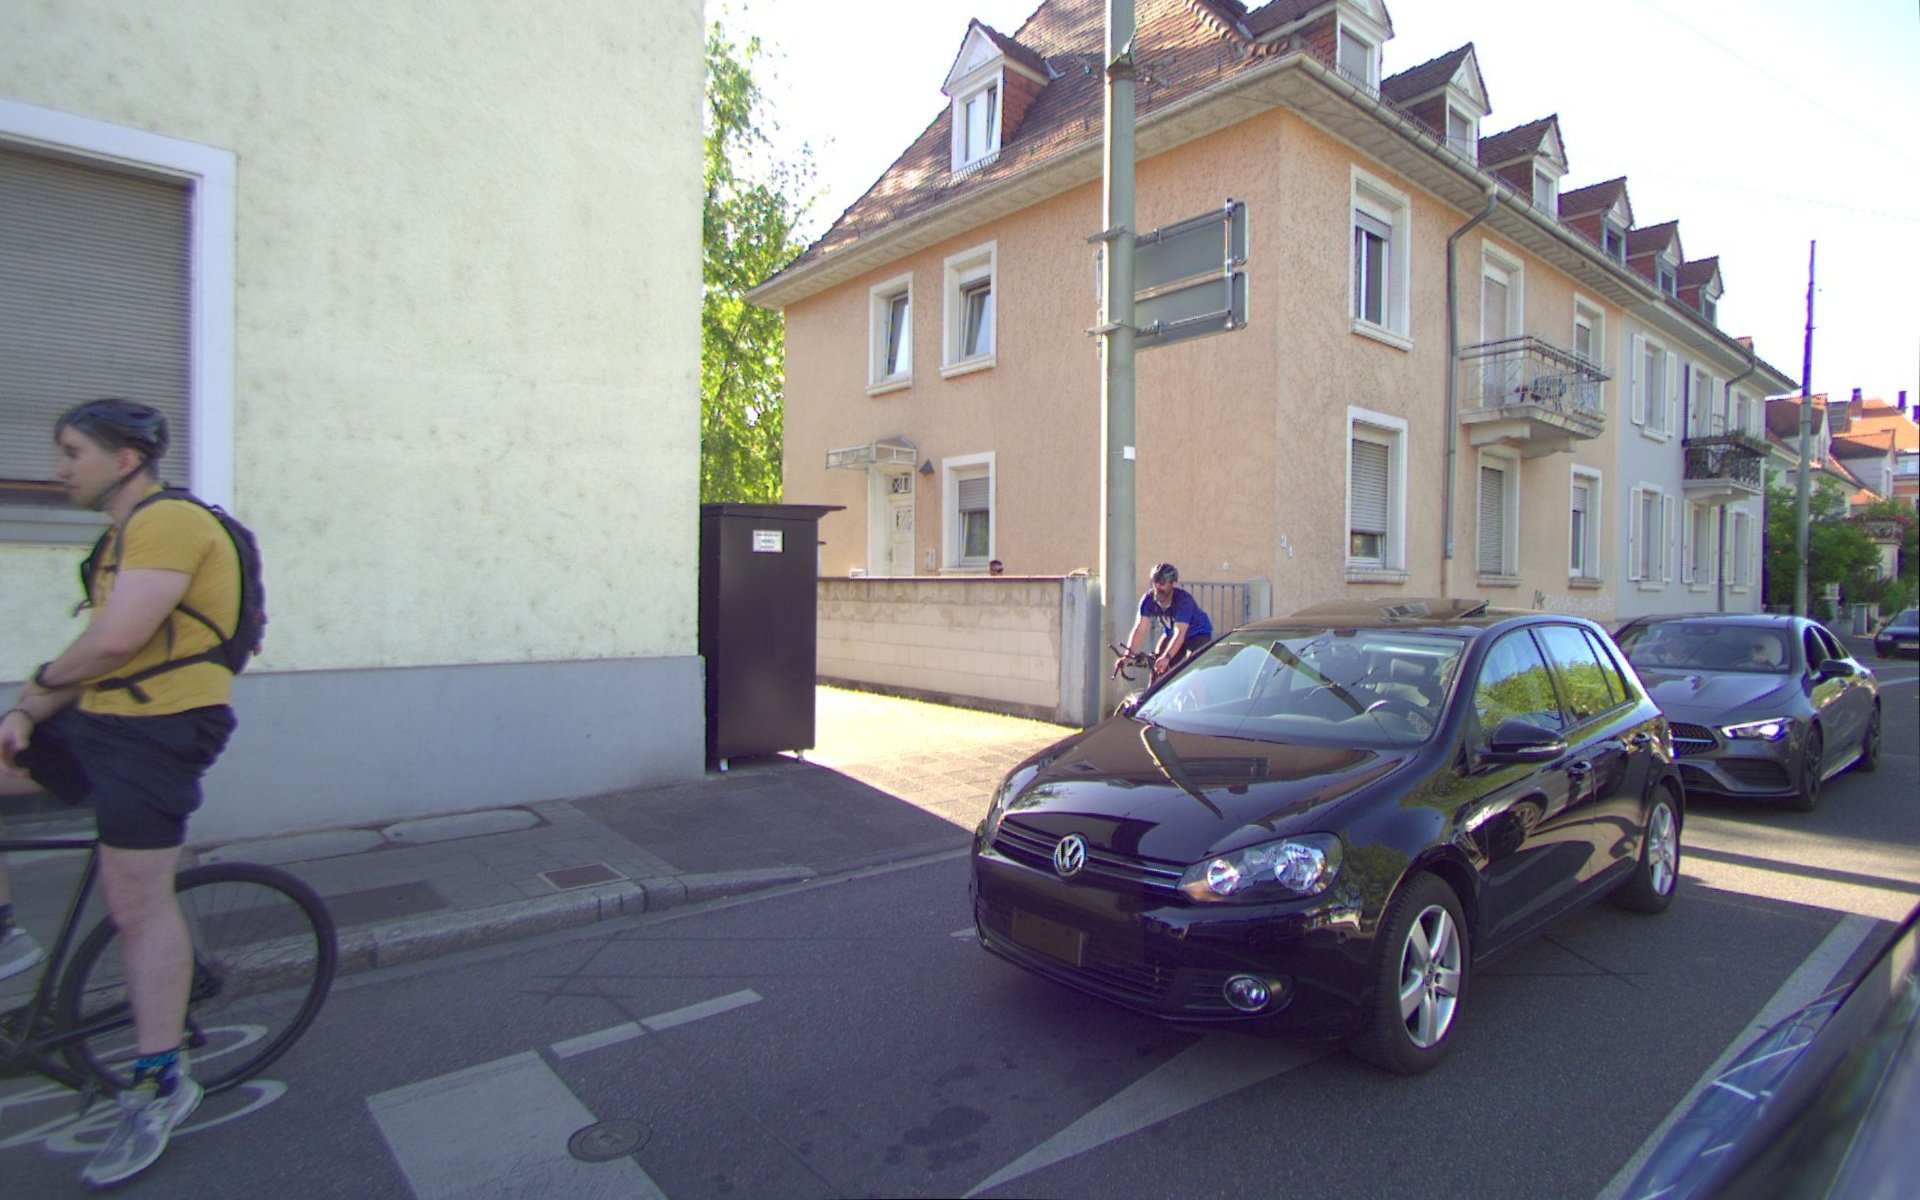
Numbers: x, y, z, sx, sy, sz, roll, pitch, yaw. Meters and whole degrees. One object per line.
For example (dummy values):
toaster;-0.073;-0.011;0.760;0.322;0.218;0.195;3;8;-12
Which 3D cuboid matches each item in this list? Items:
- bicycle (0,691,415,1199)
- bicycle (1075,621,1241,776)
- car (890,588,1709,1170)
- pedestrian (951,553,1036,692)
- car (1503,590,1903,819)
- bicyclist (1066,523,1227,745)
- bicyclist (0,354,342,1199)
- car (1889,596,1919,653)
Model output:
bicycle;-2.444;0.879;2.560;0.777;1.120;1.720;0;0;36
bicycle;1.684;0.765;8.442;0.554;1.088;1.601;6;4;42
car;1.765;0.684;4.497;3.921;1.456;1.716;-1;0;-41
pedestrian;0.409;0.258;12.647;0.600;1.624;0.760;0;6;-43
car;6.447;0.683;8.572;4.411;1.449;1.824;1;0;-41
bicyclist;1.567;0.240;8.547;1.018;1.714;0.718;6;4;42
bicyclist;-2.289;0.437;2.776;0.777;1.991;0.768;0;0;36
car;26.759;0.624;27.423;4.258;1.448;1.824;-1;0;-40
